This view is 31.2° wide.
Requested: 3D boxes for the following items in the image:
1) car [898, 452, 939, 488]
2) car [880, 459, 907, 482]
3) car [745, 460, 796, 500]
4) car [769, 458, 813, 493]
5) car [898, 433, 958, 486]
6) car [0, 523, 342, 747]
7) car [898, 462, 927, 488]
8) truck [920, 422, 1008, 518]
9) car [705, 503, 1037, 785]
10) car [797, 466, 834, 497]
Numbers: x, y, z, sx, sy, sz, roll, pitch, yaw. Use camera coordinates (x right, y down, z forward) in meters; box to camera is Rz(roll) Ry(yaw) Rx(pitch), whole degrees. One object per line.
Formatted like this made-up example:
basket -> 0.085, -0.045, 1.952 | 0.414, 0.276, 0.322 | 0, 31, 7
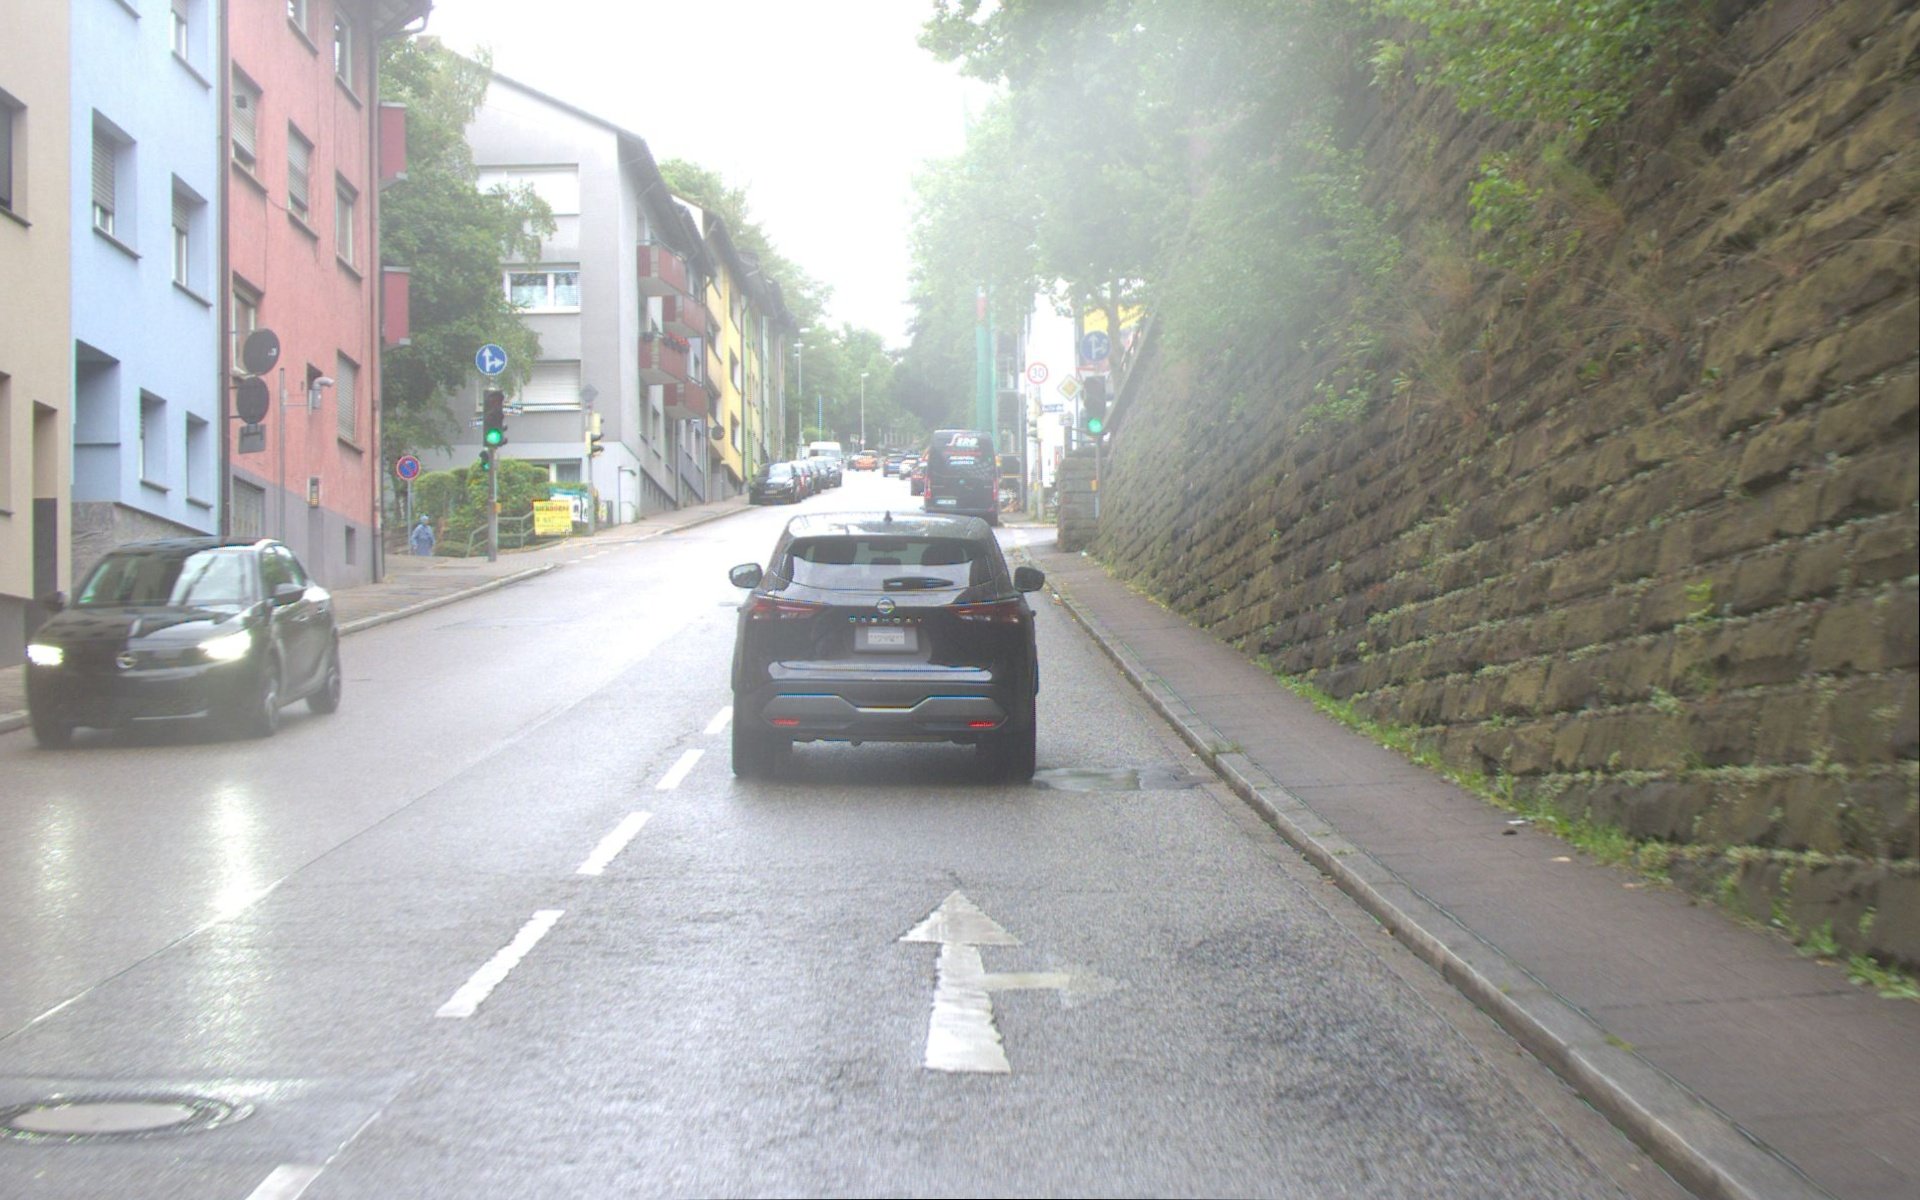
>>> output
car -> -1.871, -5.857, 155.193 | 1.794, 1.505, 4.000 | -1, 1, 0
car -> -4.735, -9.235, 245.510 | 1.794, 1.505, 4.000 | -1, 1, 0
car -> -7.564, -4.794, 137.471 | 1.794, 1.505, 4.000 | -1, 1, 0
car -> -7.741, -5.701, 157.470 | 1.794, 1.505, 4.000 | -1, 1, 0
car -> -0.996, -4.404, 107.940 | 1.794, 1.505, 4.500 | -1, 1, 0
car -> -5.793, 0.194, 25.602 | 1.714, 1.443, 3.922 | -2, 2, -1
car -> -3.001, -7.927, 218.693 | 1.794, 1.505, 4.000 | -1, 1, 0
truck -> 0.088, -3.492, 93.152 | 2.289, 2.432, 4.452 | -1, 1, 0
car -> -0.618, 0.217, 21.718 | 1.881, 1.588, 3.922 | -1, 1, -3
car -> -7.636, -6.258, 181.559 | 1.794, 1.505, 4.000 | -1, 1, 0
